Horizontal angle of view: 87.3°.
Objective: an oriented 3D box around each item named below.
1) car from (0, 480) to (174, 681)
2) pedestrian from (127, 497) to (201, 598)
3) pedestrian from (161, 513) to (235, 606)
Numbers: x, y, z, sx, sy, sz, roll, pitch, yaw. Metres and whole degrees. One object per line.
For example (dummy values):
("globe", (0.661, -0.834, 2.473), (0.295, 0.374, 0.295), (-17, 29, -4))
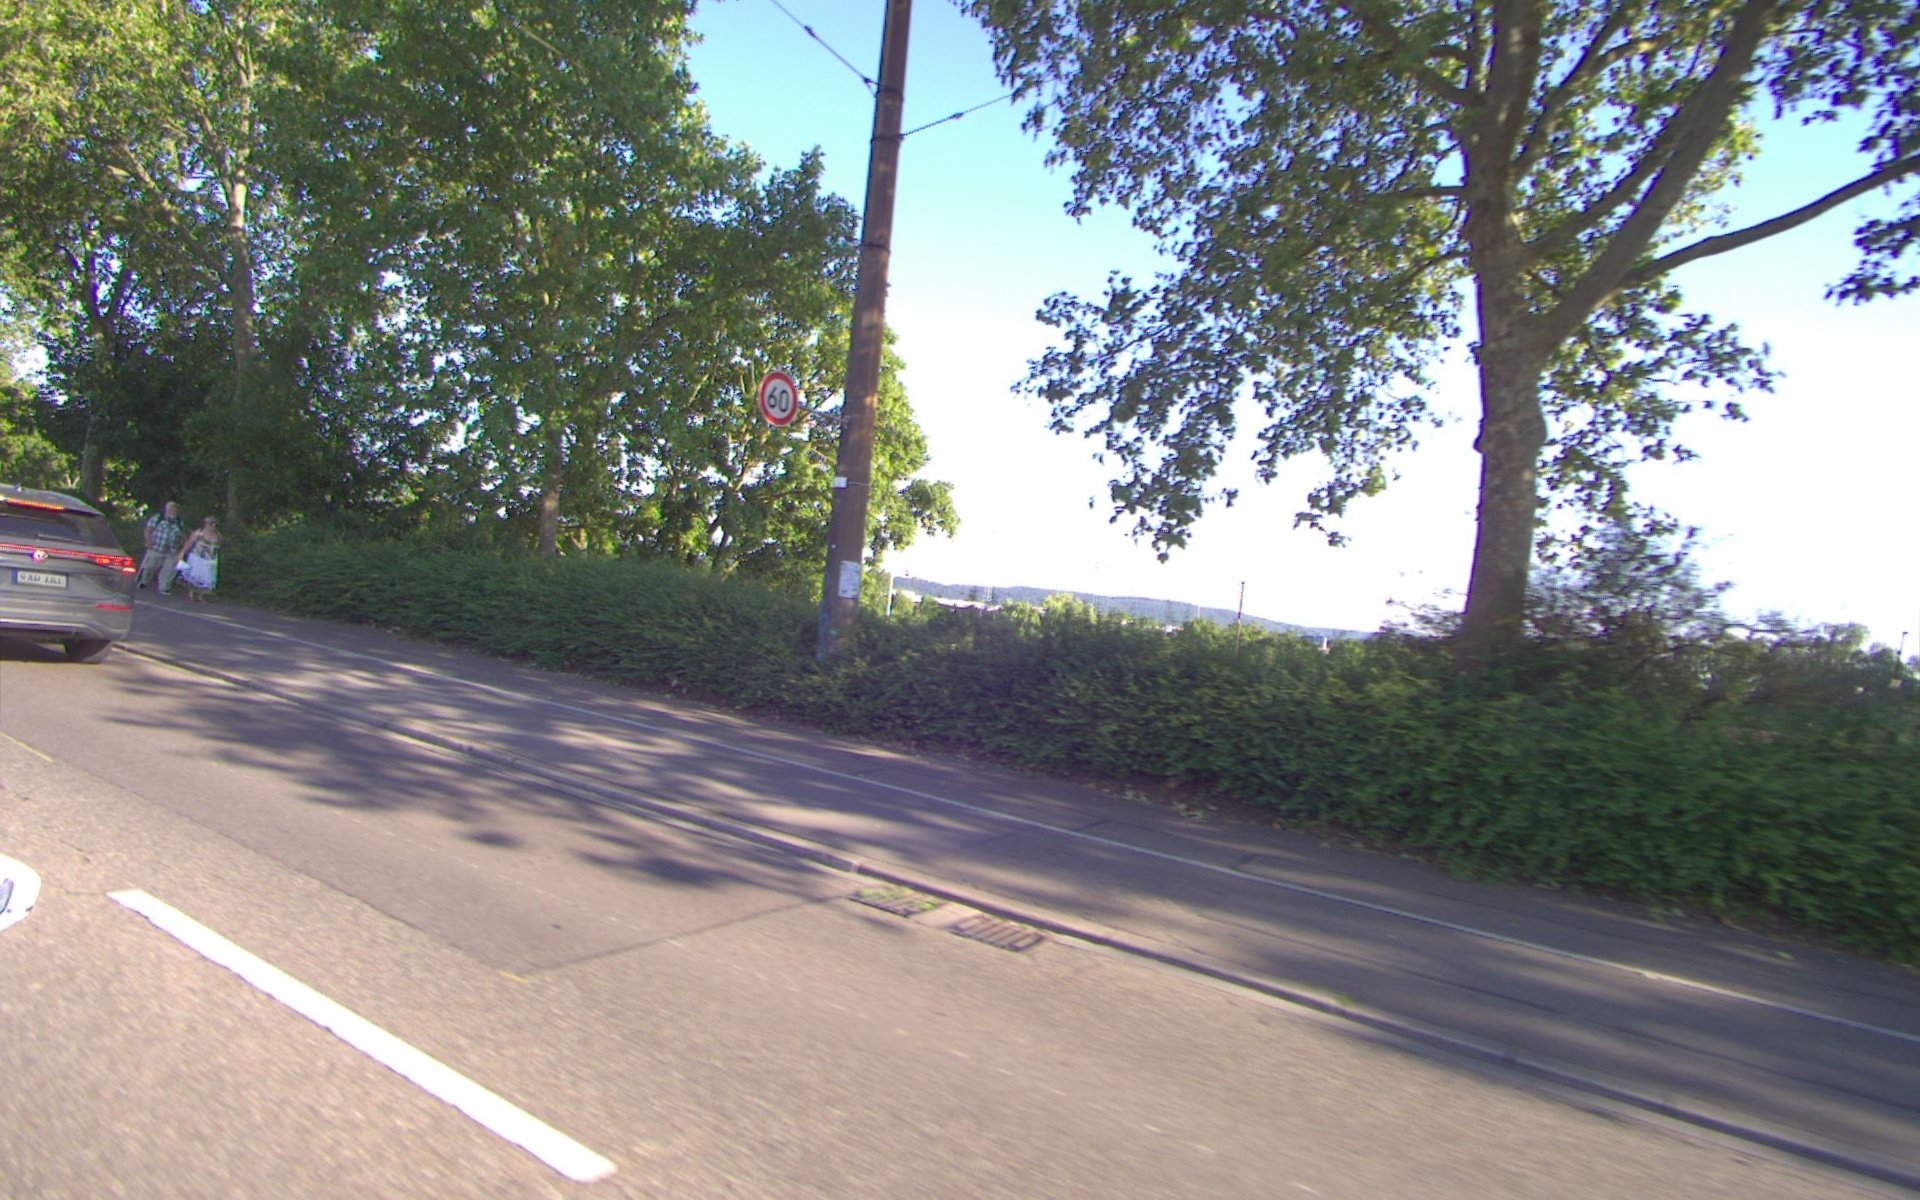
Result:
("car", (-9.991, -0.383, 9.985), (4.365, 1.680, 1.849), (7, -2, 31))
("pedestrian", (-14.595, -0.954, 18.445), (0.799, 1.729, 0.723), (7, 1, 31))
("pedestrian", (-13.338, -0.699, 17.616), (0.710, 1.499, 0.724), (7, 1, 31))
